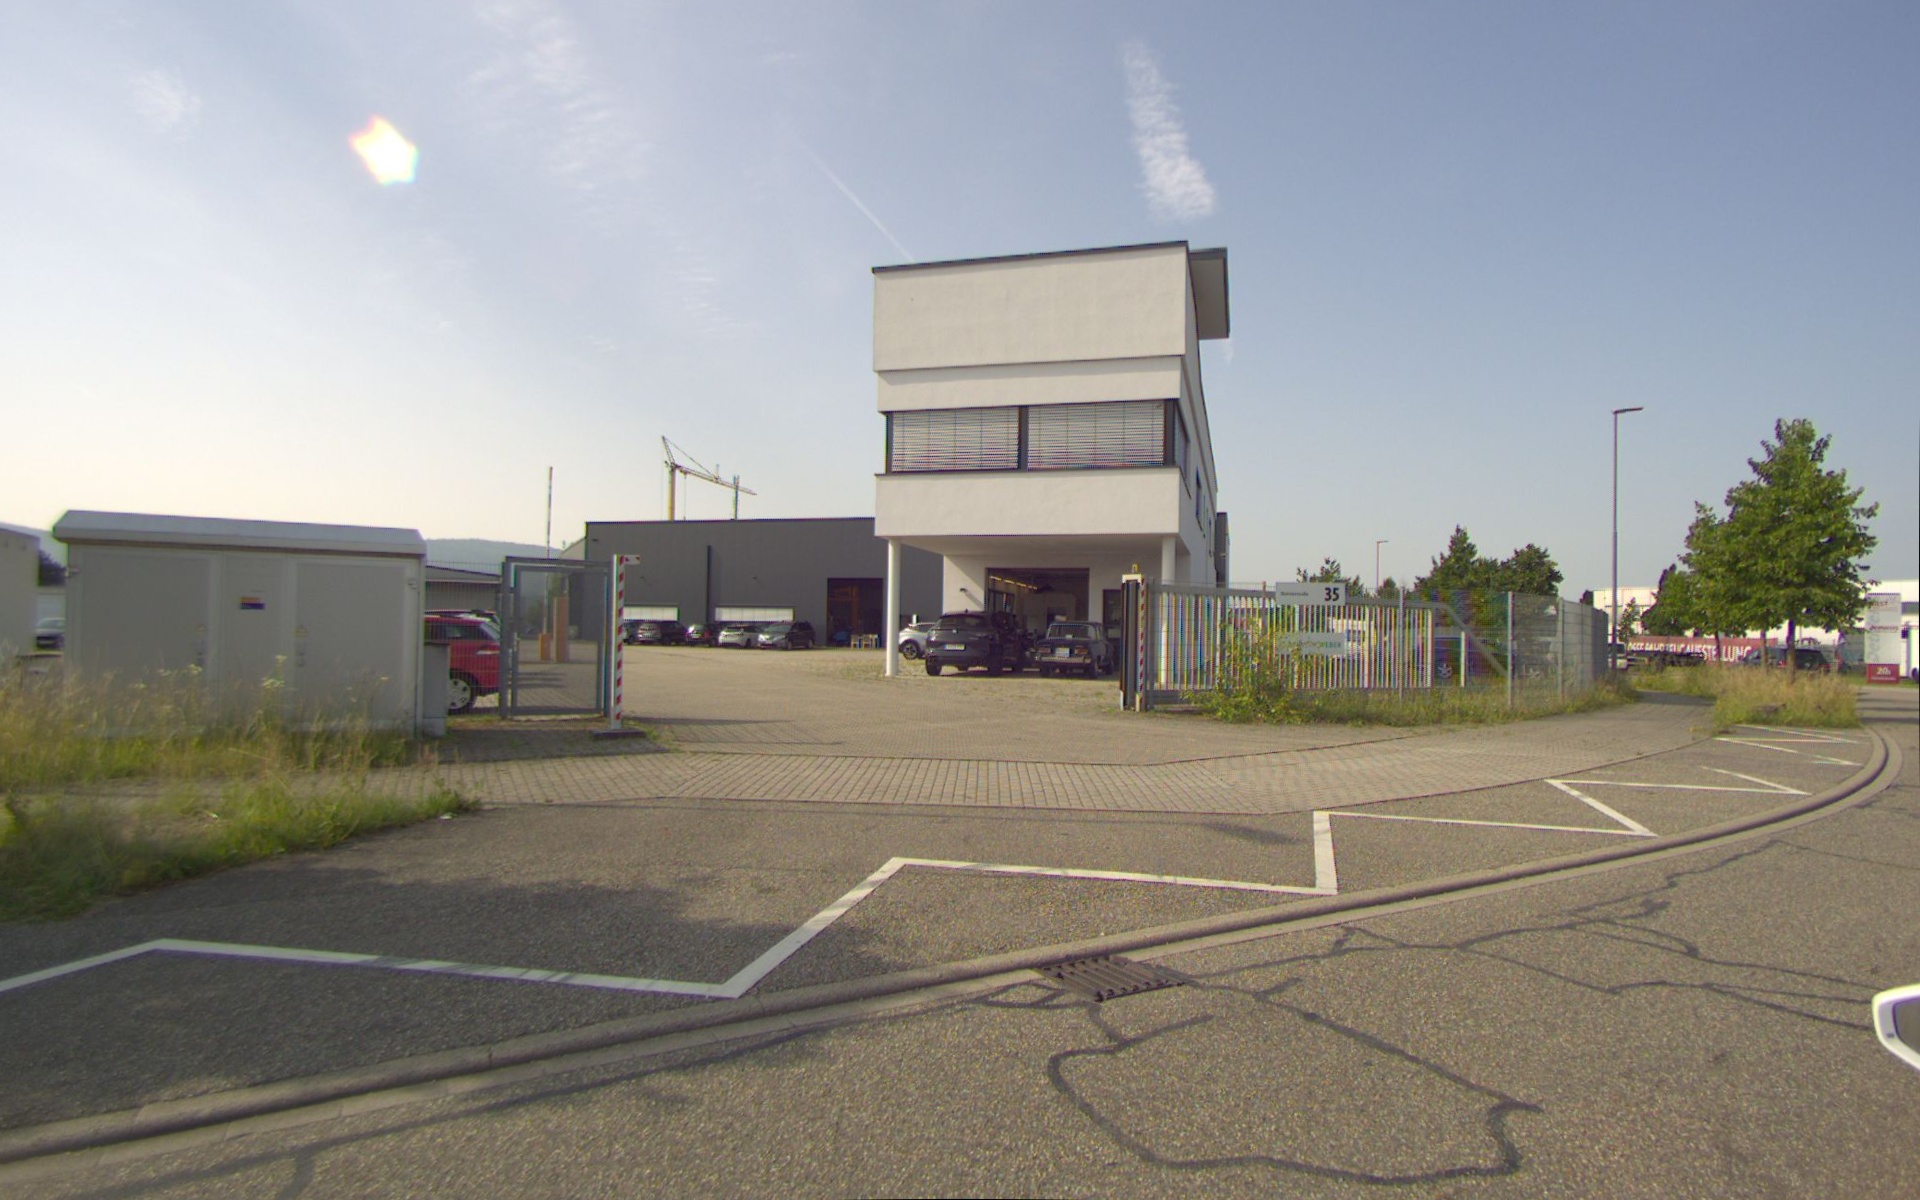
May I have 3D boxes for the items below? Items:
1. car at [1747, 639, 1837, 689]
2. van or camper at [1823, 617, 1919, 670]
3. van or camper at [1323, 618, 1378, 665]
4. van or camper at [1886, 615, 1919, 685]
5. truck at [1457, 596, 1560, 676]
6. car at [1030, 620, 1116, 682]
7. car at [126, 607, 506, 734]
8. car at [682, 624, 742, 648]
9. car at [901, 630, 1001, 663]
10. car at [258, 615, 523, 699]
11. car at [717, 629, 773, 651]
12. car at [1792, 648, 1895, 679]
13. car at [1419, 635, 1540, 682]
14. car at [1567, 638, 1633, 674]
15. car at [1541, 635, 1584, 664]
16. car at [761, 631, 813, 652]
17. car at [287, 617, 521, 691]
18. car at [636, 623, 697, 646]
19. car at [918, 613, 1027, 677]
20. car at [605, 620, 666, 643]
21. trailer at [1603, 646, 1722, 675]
[{"bbox_3d":[32.153,2.465,38.951,1.964,1.828,3.994,-1,-3,29],"label":"car"},{"bbox_3d":[56.660,2.643,62.170,6.708,3.125,2.652,1,-1,-27],"label":"van or camper"},{"bbox_3d":[22.609,2.406,58.328,2.266,2.594,4.957,1,-2,13],"label":"van or camper"},{"bbox_3d":[41.924,2.129,42.155,2.294,2.982,6.968,0,-2,23],"label":"van or camper"},{"bbox_3d":[30.960,2.059,57.317,2.582,3.980,12.925,1,-2,17],"label":"truck"},{"bbox_3d":[3.008,1.291,26.082,1.532,1.434,3.923,1,-2,16],"label":"car"},{"bbox_3d":[-8.861,0.893,14.160,4.260,1.545,1.759,1,-1,-34],"label":"car"},{"bbox_3d":[-15.914,2.336,64.565,1.634,1.461,3.950,0,-2,24],"label":"car"},{"bbox_3d":[-0.355,1.901,41.678,3.842,1.264,1.564,0,-2,15],"label":"car"},{"bbox_3d":[-11.247,1.075,20.132,4.424,1.514,1.824,1,-1,-30],"label":"car"},{"bbox_3d":[-13.523,2.523,63.467,1.633,1.331,3.819,1,-2,20],"label":"car"},{"bbox_3d":[45.648,3.259,51.929,3.932,1.496,2.167,1,-2,-14],"label":"car"},{"bbox_3d":[18.064,2.005,35.062,3.433,1.473,1.598,2,-1,14],"label":"car"},{"bbox_3d":[37.268,3.217,58.573,1.960,1.924,4.470,1,-2,15],"label":"car"},{"bbox_3d":[45.027,3.703,75.160,1.788,2.004,4.001,-3,-2,17],"label":"car"},{"bbox_3d":[-10.648,2.578,62.113,1.633,1.237,3.821,1,-2,17],"label":"car"},{"bbox_3d":[-12.354,1.157,22.559,4.424,1.514,1.926,1,-1,-30],"label":"car"},{"bbox_3d":[-19.063,2.257,65.380,1.634,1.461,3.950,0,-2,24],"label":"car"},{"bbox_3d":[0.409,1.165,26.456,1.831,1.507,4.002,1,-2,16],"label":"car"},{"bbox_3d":[-21.478,2.115,66.683,1.634,1.461,3.950,0,-2,24],"label":"car"},{"bbox_3d":[40.403,3.438,58.177,2.579,1.406,9.460,-2,-2,16],"label":"trailer"}]
